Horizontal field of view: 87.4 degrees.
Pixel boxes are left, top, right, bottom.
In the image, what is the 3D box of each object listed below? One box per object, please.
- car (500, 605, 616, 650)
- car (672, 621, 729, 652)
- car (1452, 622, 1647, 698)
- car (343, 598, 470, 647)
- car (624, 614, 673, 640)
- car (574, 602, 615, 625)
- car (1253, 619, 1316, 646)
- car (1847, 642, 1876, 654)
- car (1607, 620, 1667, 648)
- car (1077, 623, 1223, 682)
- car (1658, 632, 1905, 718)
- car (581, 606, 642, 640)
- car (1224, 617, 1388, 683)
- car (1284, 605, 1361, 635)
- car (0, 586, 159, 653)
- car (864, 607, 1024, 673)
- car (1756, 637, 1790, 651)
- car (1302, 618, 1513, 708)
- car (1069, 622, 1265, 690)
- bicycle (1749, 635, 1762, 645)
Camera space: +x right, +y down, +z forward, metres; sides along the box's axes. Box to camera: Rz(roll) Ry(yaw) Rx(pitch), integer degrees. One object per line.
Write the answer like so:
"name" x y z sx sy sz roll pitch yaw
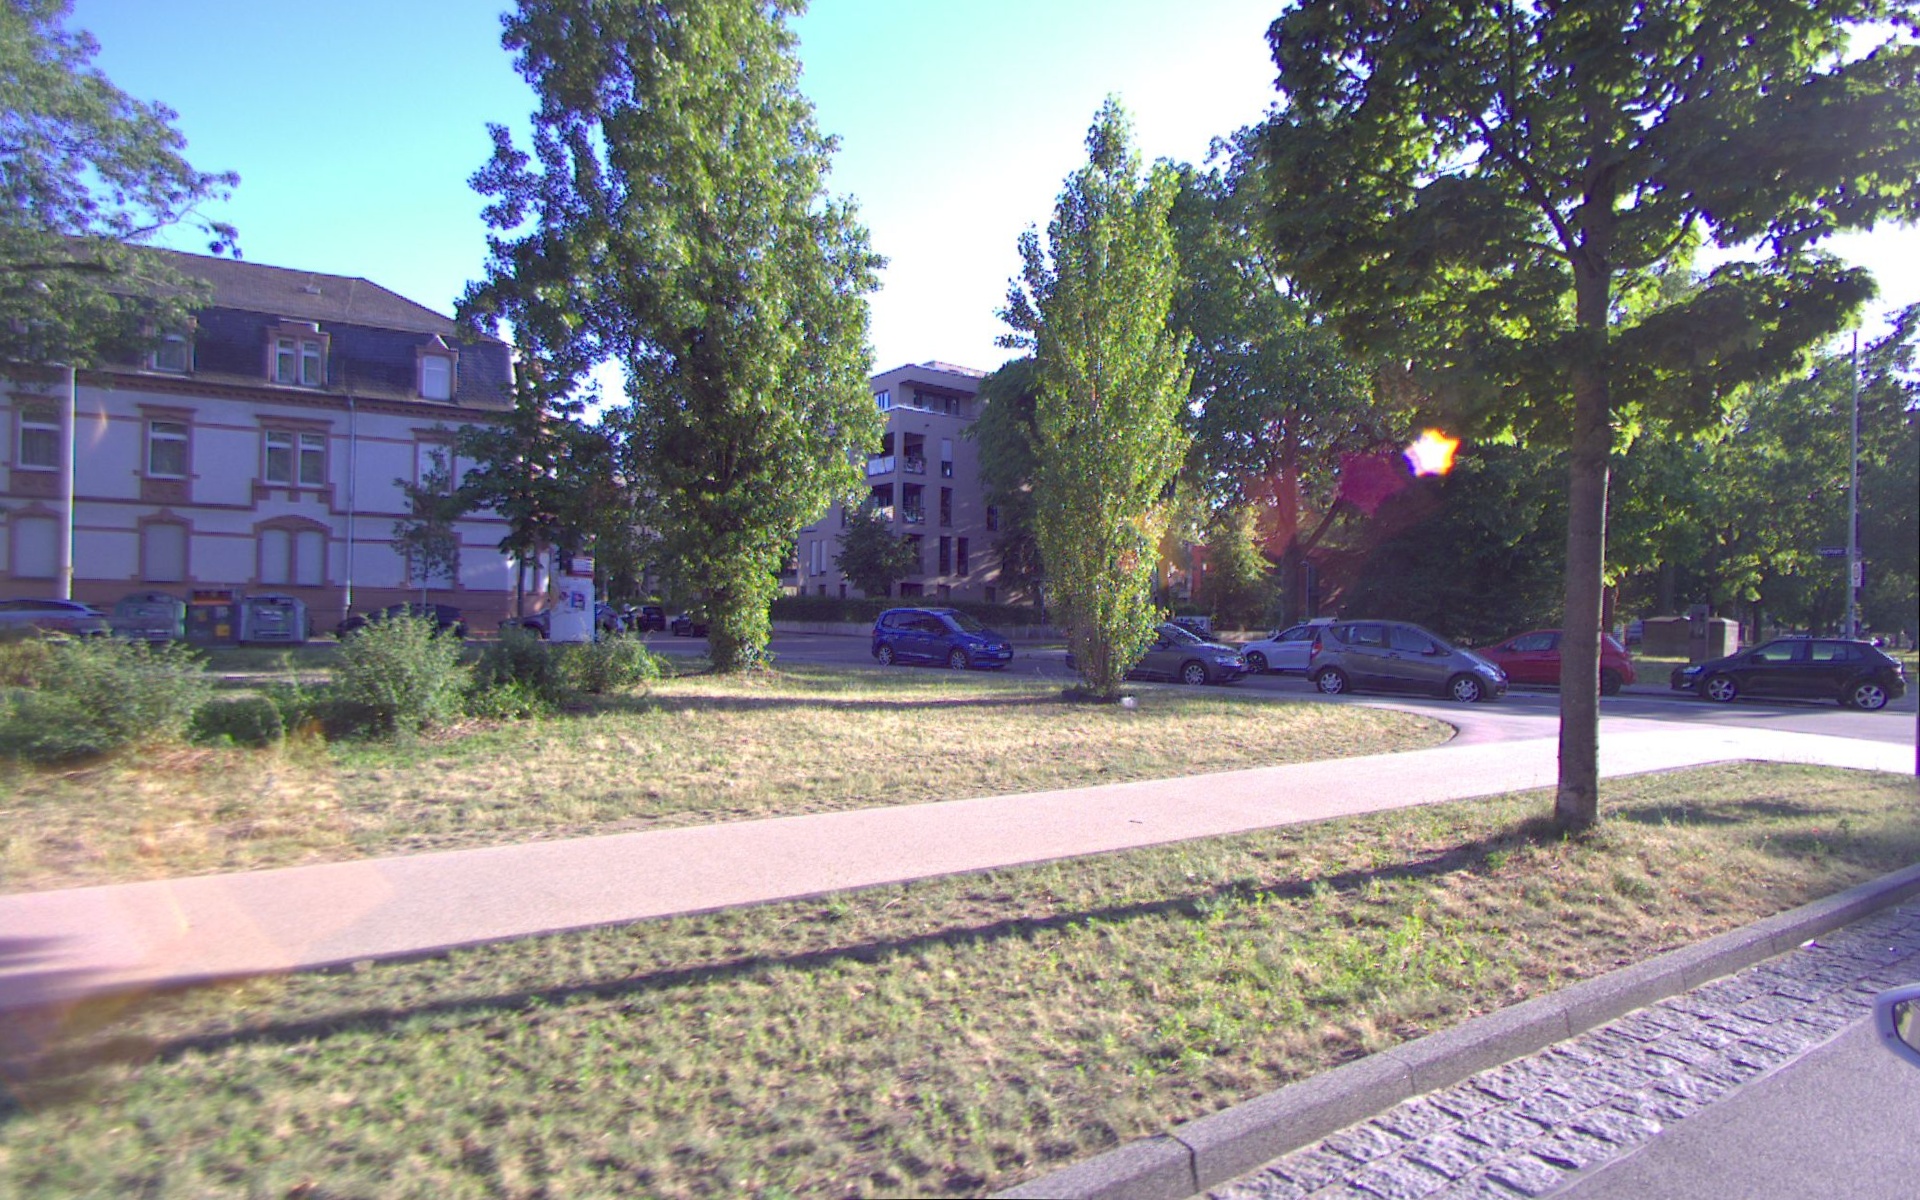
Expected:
"car" -16.004 1.098 39.998 3.959 1.594 1.873 4 -2 -34
"car" -15.120 2.096 58.386 1.873 1.594 3.959 4 -2 -36
"car" 14.318 1.427 24.552 3.930 1.594 1.887 1 -2 32
"car" -20.310 0.852 37.049 3.950 1.594 1.878 4 -2 -27
"car" -20.619 1.767 66.364 1.873 1.594 3.960 4 -2 -35
"car" -26.822 0.970 73.721 1.872 1.594 3.962 4 -2 -34
"car" 20.670 2.067 63.967 3.700 1.639 1.981 2 0 -34
"car" 118.494 6.292 132.005 4.072 1.528 1.981 2 -2 -34
"car" 63.651 3.210 94.450 6.258 2.496 2.702 2 -2 -36
"car" 5.769 1.579 30.660 3.935 1.594 1.885 1 -2 36
"car" 17.841 1.597 22.086 3.930 1.594 1.887 1 -2 32
"car" -17.569 1.131 50.513 1.872 1.594 3.962 4 -2 -34
"car" 9.602 1.374 27.974 3.934 1.594 1.885 1 -2 36
"car" 28.010 1.505 77.710 2.653 2.142 4.917 2 0 -37
"car" -28.952 0.599 32.002 4.907 1.918 1.880 4 -2 -24
"car" -0.481 1.066 27.971 4.208 1.665 1.833 0 -2 37
"car" 93.432 5.016 115.410 3.959 1.528 1.981 2 -2 -34
"car" 9.292 1.253 20.910 3.780 1.653 1.836 0 -2 32
"car" 4.891 1.277 23.940 4.205 1.419 1.835 0 -2 34
"bicycle" 91.595 4.606 115.675 2.312 1.191 0.652 2 -2 -38
